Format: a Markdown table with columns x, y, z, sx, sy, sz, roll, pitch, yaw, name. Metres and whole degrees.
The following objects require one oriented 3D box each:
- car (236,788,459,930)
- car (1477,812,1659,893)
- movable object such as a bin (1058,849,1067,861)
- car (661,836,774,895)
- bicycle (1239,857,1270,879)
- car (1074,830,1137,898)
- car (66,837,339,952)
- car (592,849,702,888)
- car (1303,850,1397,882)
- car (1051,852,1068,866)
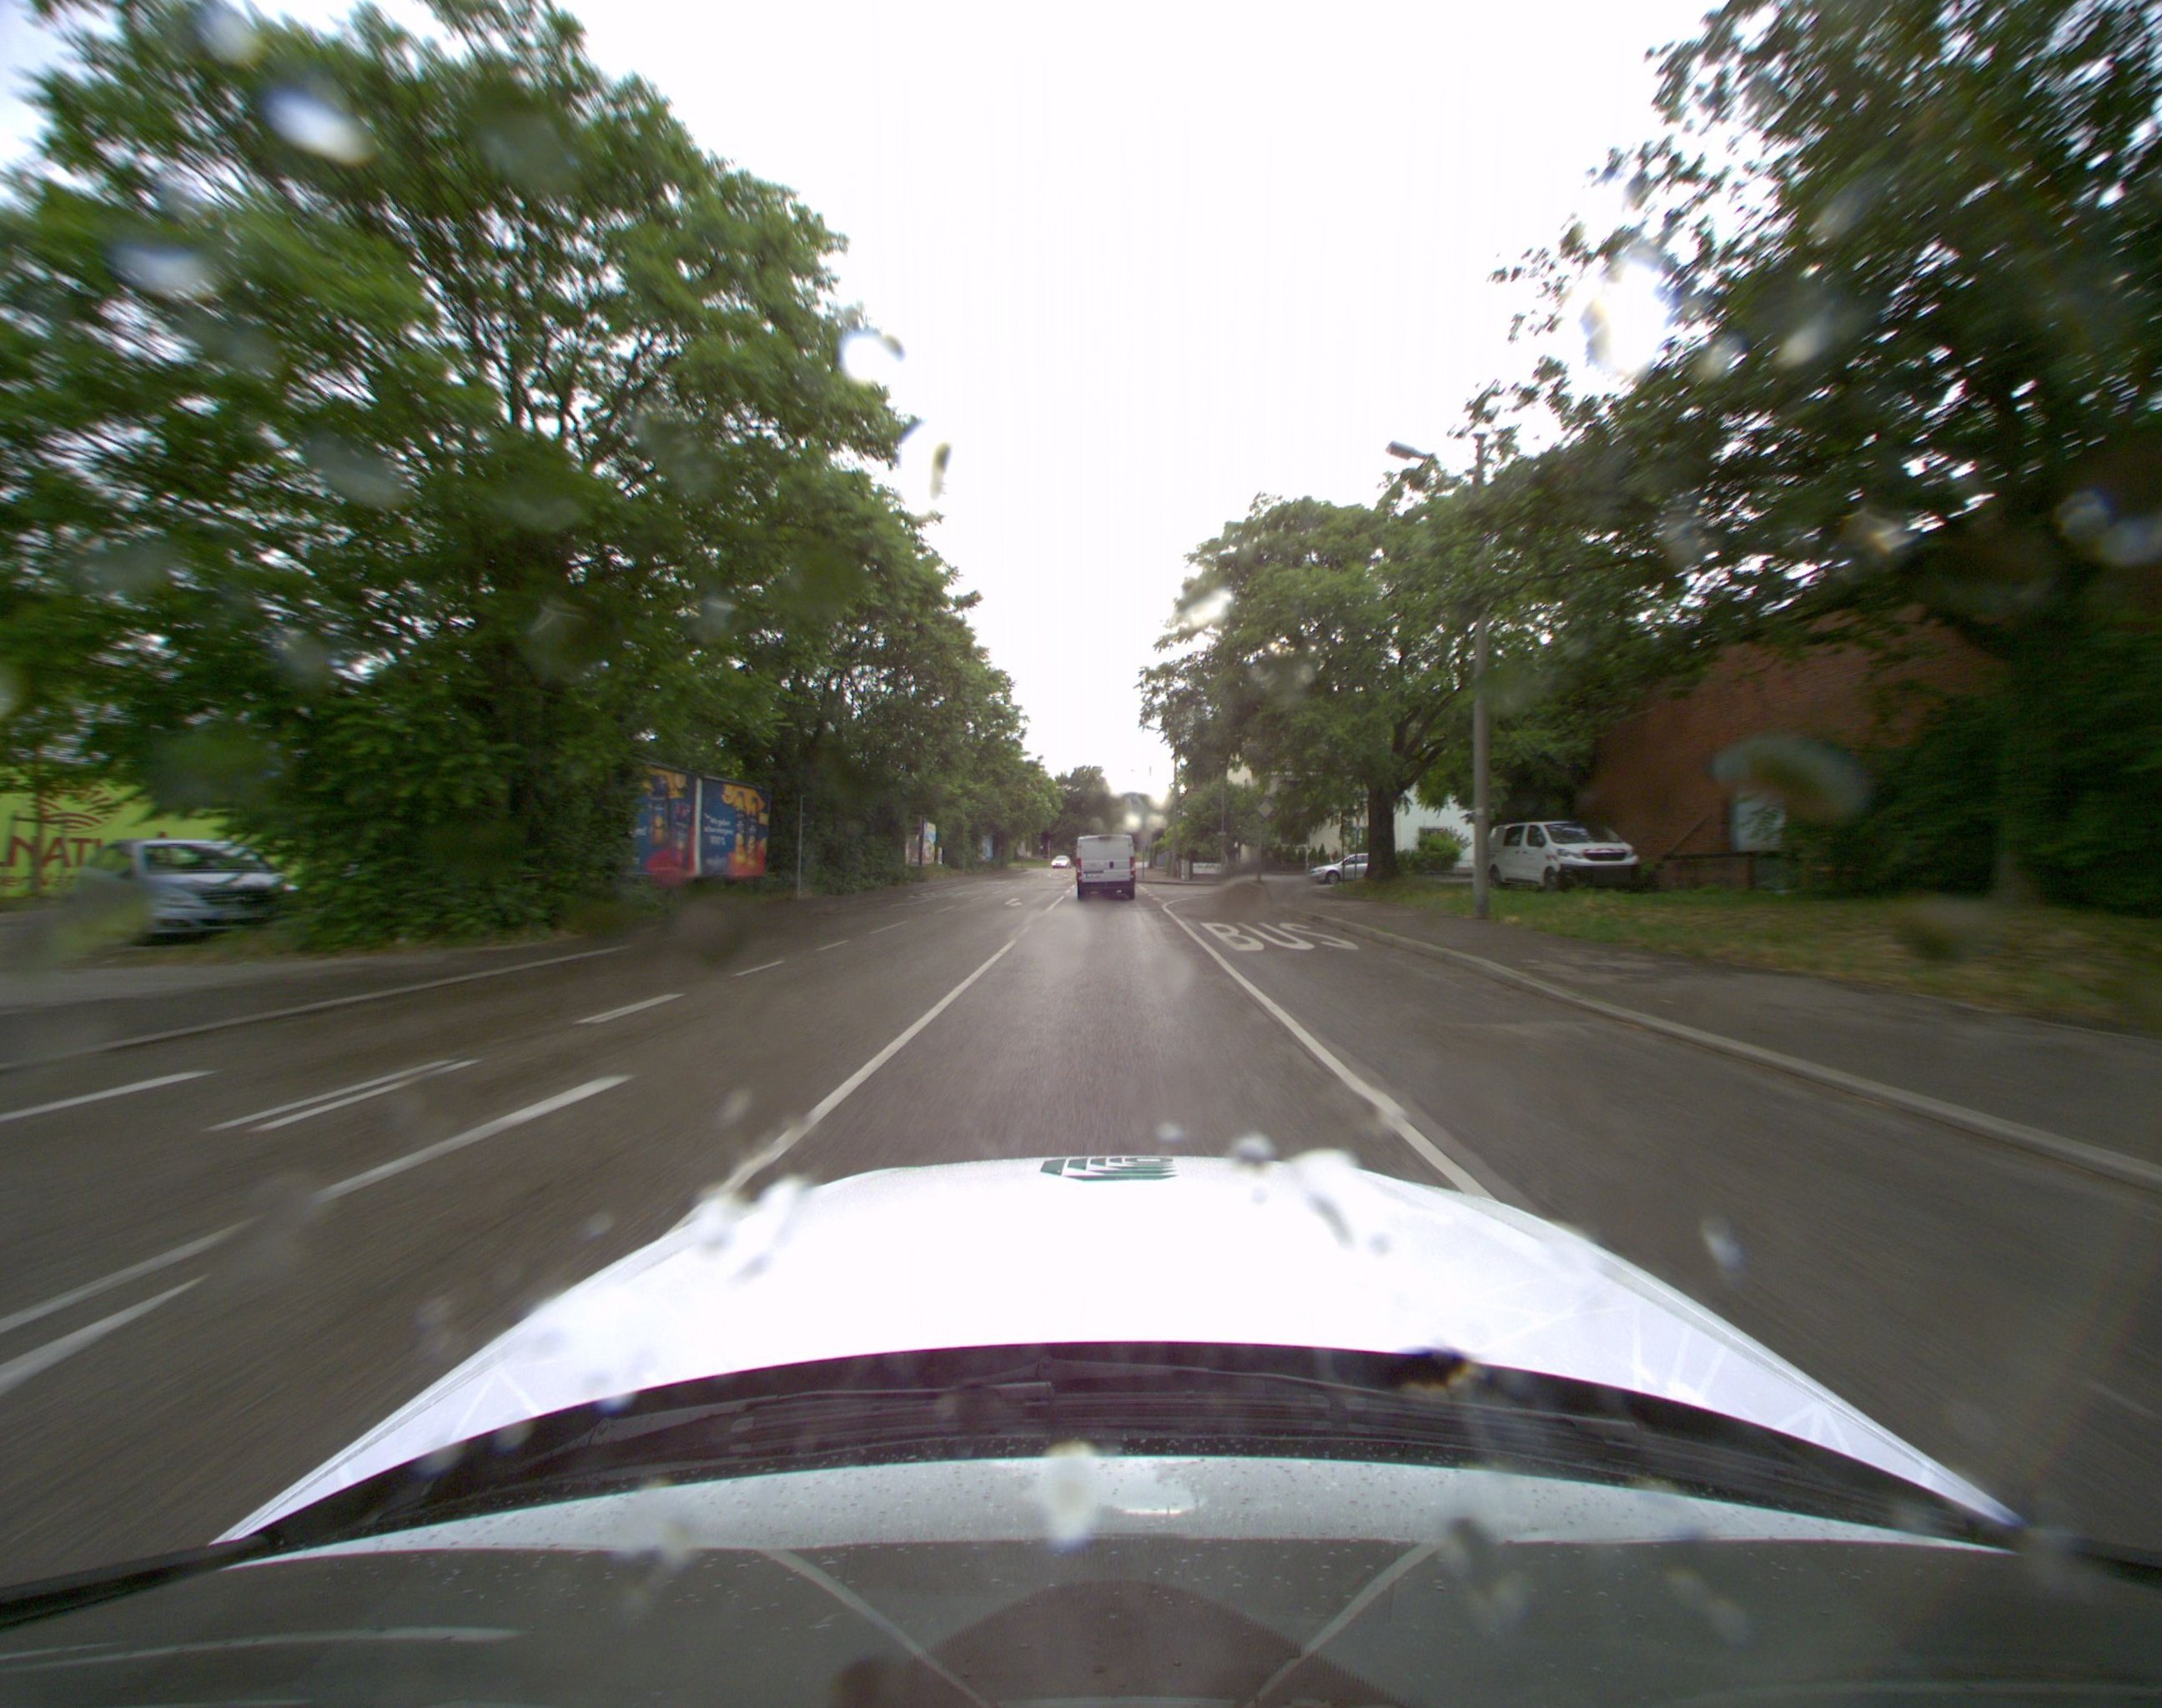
| x | y | z | sx | sy | sz | roll | pitch | yaw | name |
| --- | --- | --- | --- | --- | --- | --- | --- | --- | --- |
| -15.323 | 0.061 | 17.458 | 2.118 | 2.533 | 5.556 | 2 | 0 | -27 | car |
| 12.433 | -0.020 | 21.292 | 1.984 | 1.805 | 5.153 | 2 | 0 | 5 | car |
| -2.614 | 0.141 | 115.569 | 0.935 | 1.564 | 1.132 | 6 | 0 | 6 | movable object such as a bin |
| -13.390 | 0.383 | 29.920 | 3.949 | 1.937 | 2.013 | 2 | 0 | 36 | car |
| 9.241 | 0.746 | 43.423 | 1.563 | 1.115 | 0.458 | -1 | 0 | 5 | bicycle |
| 0.831 | 0.368 | 30.156 | 2.139 | 2.283 | 5.061 | 1 | -1 | 0 | car |
| -14.407 | 0.561 | 13.349 | 4.074 | 1.543 | 2.012 | 2 | 0 | 28 | car |
| -17.971 | 0.576 | 33.891 | 1.751 | 1.511 | 3.774 | 1 | 0 | 21 | car |
| 13.003 | 0.585 | 39.502 | 3.976 | 1.423 | 1.703 | -1 | -2 | -2 | car |
| -2.451 | 0.558 | 93.626 | 1.648 | 1.417 | 3.936 | -2 | 0 | 1 | car |
